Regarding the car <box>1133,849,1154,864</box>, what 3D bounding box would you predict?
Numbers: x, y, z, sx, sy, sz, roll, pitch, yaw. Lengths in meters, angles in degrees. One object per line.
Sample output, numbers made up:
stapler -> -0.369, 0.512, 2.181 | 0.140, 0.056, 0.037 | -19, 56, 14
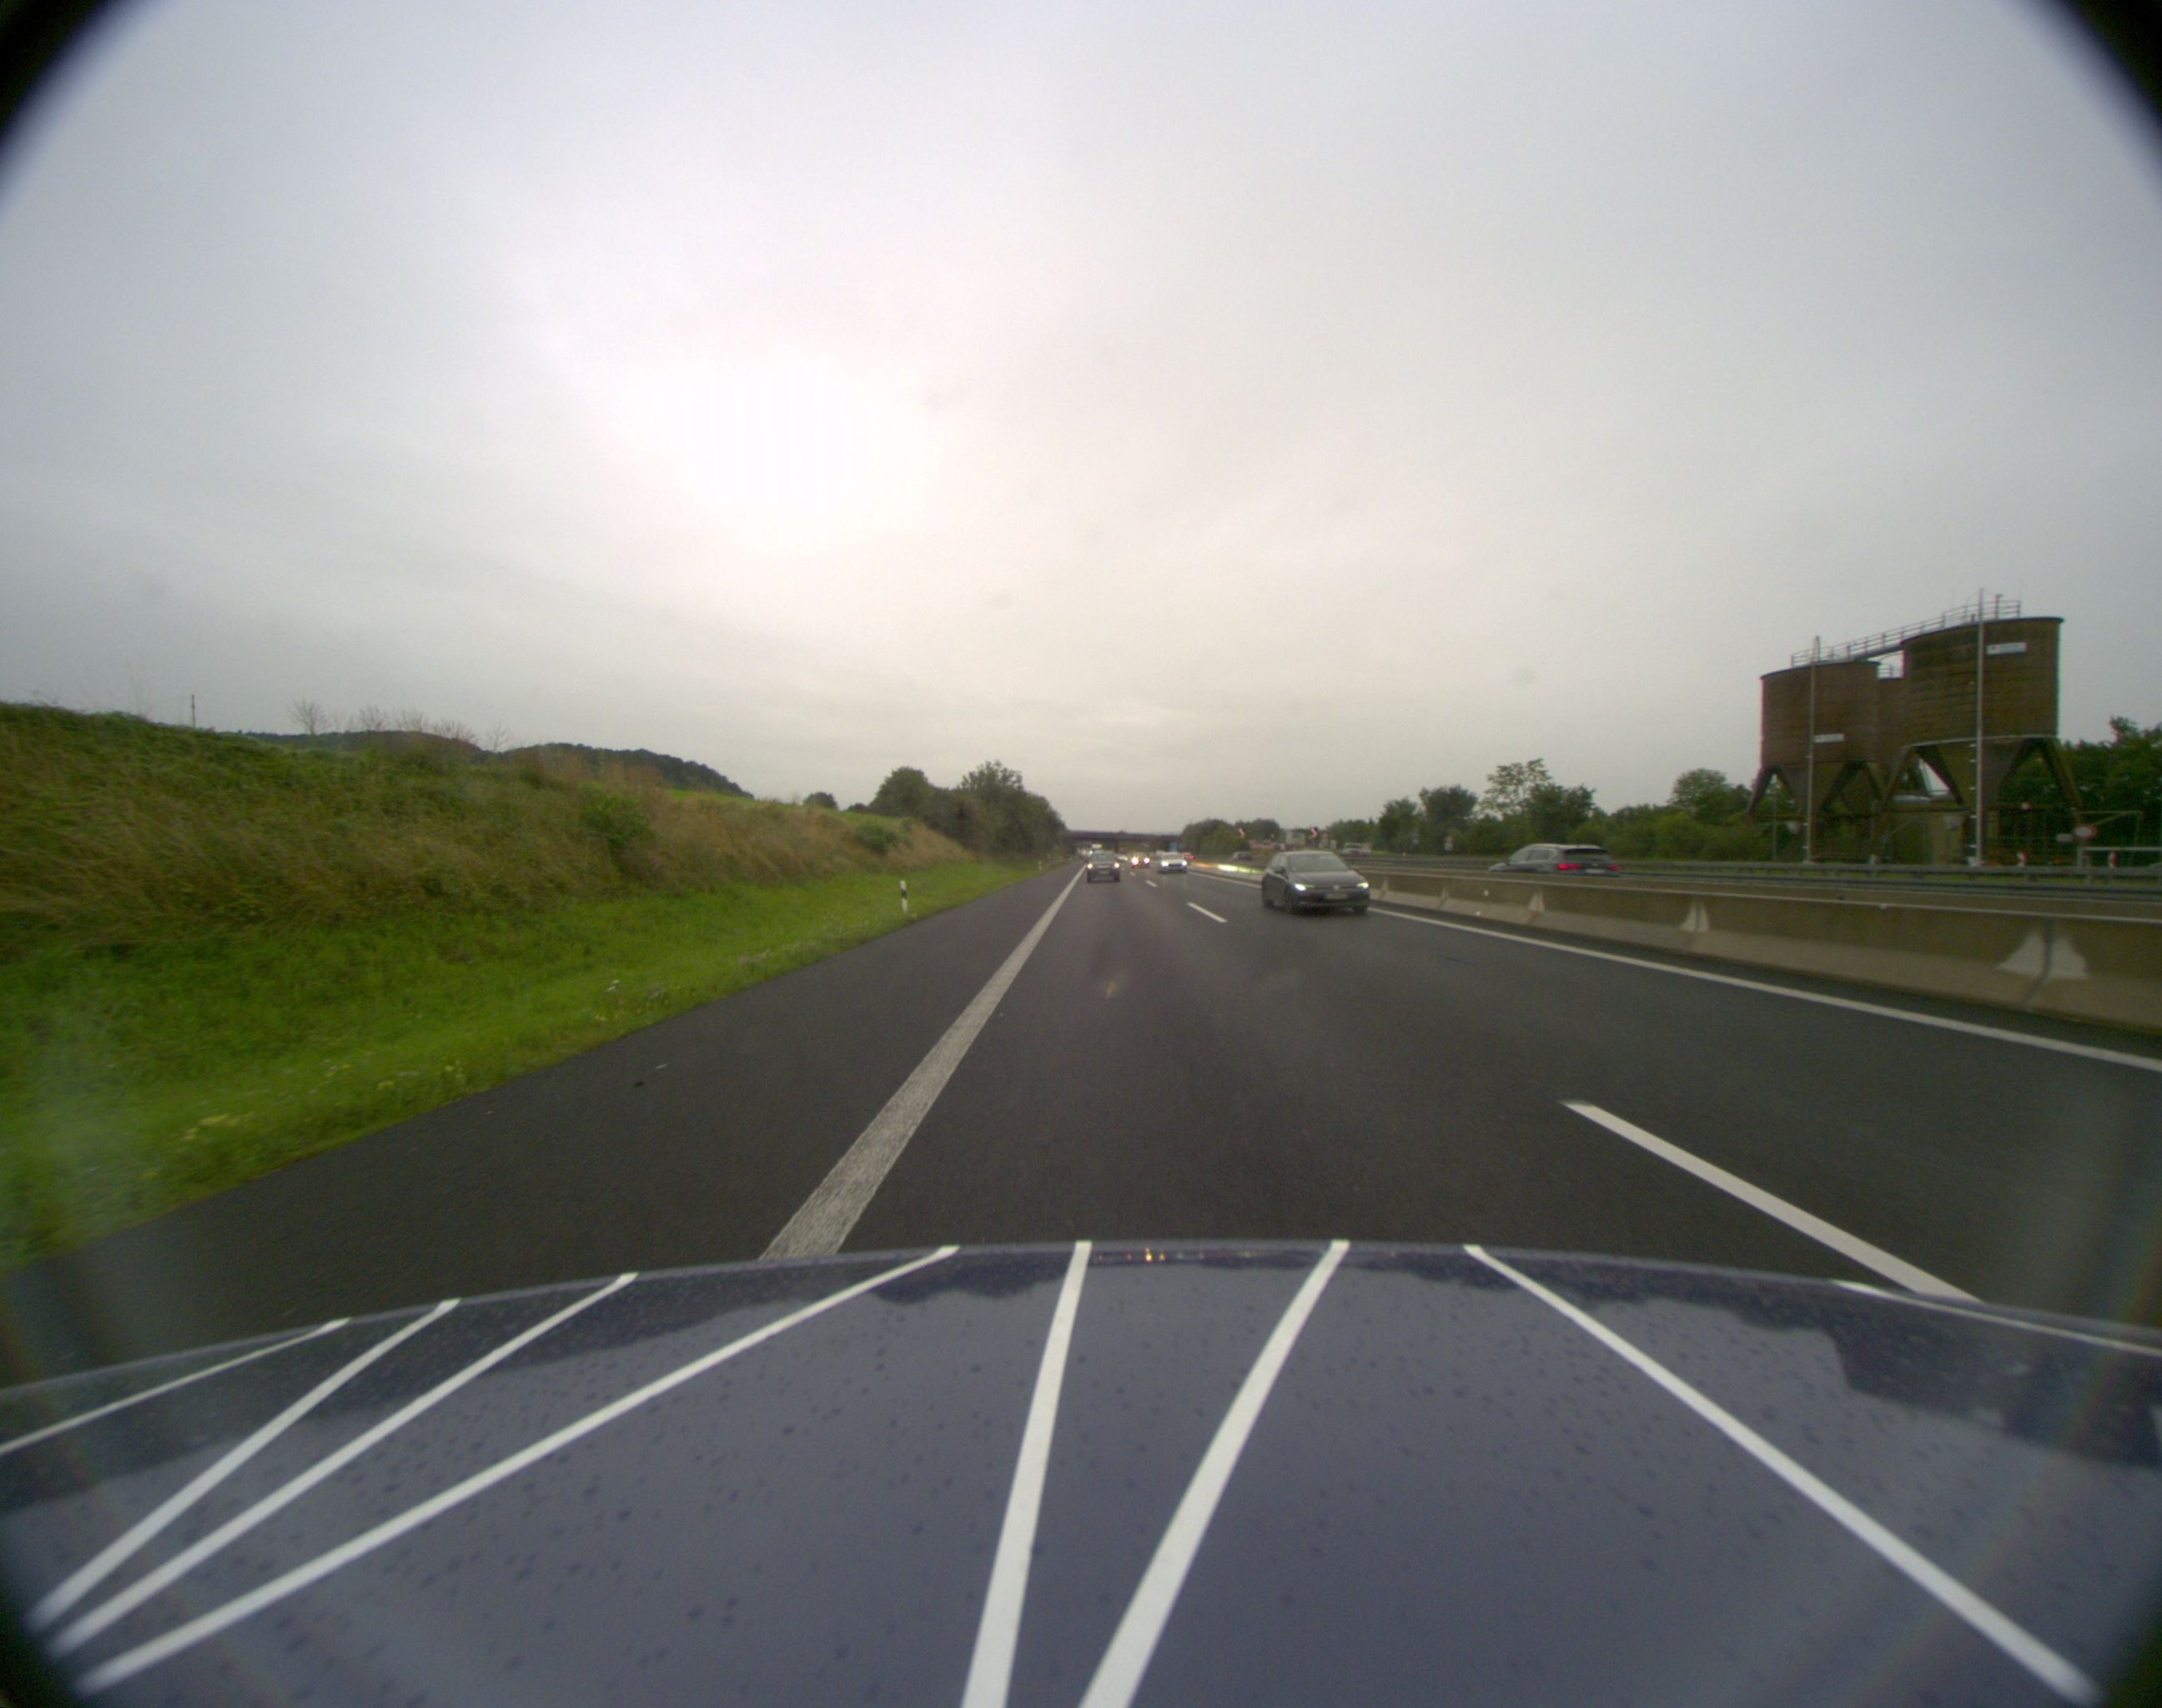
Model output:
car -> 6.167, 0.221, 75.178 | 1.835, 1.417, 4.368 | -3, 0, 2

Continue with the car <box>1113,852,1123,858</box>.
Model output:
car -> 8.067, 0.237, 165.055 | 1.941, 1.341, 4.000 | -3, 0, 1

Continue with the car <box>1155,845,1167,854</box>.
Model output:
car -> 16.303, -0.872, 154.498 | 1.911, 1.649, 3.999 | -1, 0, -1

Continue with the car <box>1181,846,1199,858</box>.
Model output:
car -> 15.286, -0.292, 106.417 | 1.911, 1.649, 3.999 | -1, 0, -1

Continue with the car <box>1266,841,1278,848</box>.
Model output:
car -> 37.240, -1.919, 148.433 | 1.620, 1.303, 3.544 | -2, 1, 3

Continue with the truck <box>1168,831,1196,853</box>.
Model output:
truck -> 21.077, -2.490, 159.621 | 3.787, 4.451, 12.891 | -1, 0, -1

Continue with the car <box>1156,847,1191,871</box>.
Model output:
car -> 6.619, 0.303, 54.718 | 1.998, 1.582, 4.816 | -1, 1, 2

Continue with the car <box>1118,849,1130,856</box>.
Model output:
car -> 7.892, -0.260, 139.774 | 1.942, 1.341, 4.000 | -3, 0, 0

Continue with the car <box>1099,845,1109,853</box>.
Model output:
car -> 4.438, -1.014, 148.873 | 1.941, 1.341, 4.000 | -3, 0, 1

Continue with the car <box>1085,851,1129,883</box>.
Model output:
car -> 1.449, 0.661, 41.487 | 2.242, 1.565, 4.817 | -2, 0, 3

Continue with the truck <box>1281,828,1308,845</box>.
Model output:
truck -> 42.288, -3.399, 150.650 | 3.253, 3.197, 7.603 | -2, 0, 2

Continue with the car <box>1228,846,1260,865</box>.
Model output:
car -> 14.831, 0.144, 69.292 | 1.999, 1.649, 3.999 | -1, 0, -1

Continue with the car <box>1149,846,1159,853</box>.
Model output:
car -> 16.236, -1.035, 169.300 | 1.911, 1.649, 3.999 | -1, 0, -1

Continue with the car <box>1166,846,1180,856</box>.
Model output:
car -> 15.808, -0.586, 130.838 | 1.911, 1.649, 3.999 | -1, 0, -1

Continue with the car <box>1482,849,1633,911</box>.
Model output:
car -> 13.501, 0.658, 21.859 | 1.785, 1.622, 3.999 | 0, 0, -1

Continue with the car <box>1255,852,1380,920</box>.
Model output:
car -> 5.661, 0.696, 18.769 | 1.835, 1.417, 4.368 | -2, 0, 2

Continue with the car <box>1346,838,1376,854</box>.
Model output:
car -> 36.056, -0.992, 97.998 | 2.075, 2.002, 4.550 | 0, 0, -1

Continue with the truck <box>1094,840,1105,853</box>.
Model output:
truck -> 4.802, -1.806, 195.125 | 2.728, 3.098, 7.960 | -3, 0, 1

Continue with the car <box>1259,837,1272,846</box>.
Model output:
car -> 44.800, -2.975, 185.037 | 1.999, 2.002, 3.999 | -2, 1, -2
